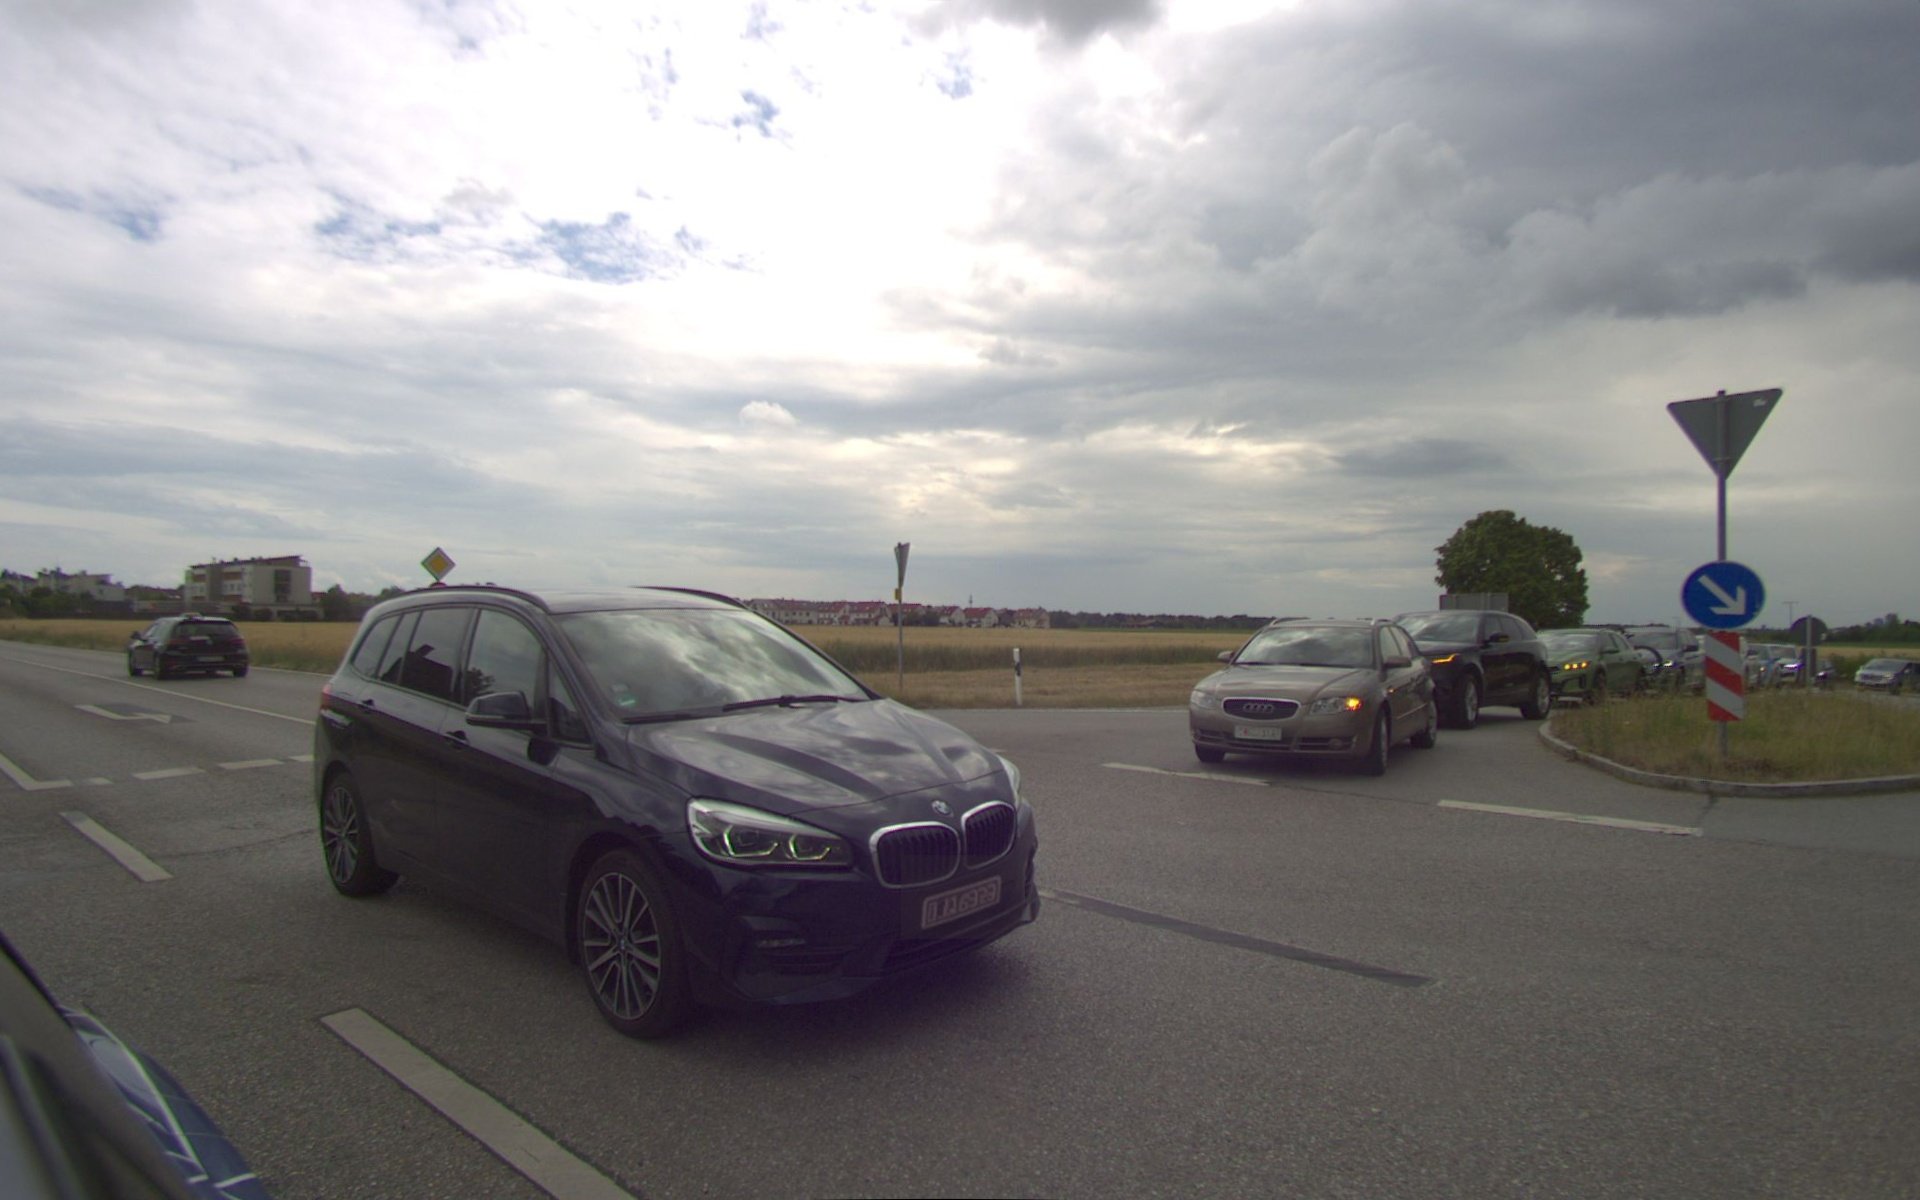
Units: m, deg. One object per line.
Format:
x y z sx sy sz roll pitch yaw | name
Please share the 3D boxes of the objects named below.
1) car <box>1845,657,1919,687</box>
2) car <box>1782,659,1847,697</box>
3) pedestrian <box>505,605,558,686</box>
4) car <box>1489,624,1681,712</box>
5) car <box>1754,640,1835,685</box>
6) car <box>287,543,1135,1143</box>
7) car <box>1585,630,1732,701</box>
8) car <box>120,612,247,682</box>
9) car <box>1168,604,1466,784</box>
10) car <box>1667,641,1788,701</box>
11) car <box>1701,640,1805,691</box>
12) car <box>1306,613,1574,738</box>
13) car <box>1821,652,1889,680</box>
51.144 3.920 55.716 4.427 1.493 1.917 1 -2 -24 | car
39.027 3.521 46.181 1.912 1.493 4.440 -1 -2 45 | car
-8.800 0.931 20.801 0.865 1.617 0.587 -1 -5 39 | pedestrian
12.612 1.274 20.267 5.221 1.533 1.913 2 -2 -42 | car
30.979 2.269 37.527 1.912 1.493 4.440 -1 -2 45 | car
-1.545 0.681 4.860 4.480 1.623 1.685 -1 0 41 | car
16.863 1.501 24.346 4.568 1.528 1.913 2 -2 -42 | car
-18.900 1.069 24.558 4.394 1.533 1.661 -1 0 42 | car
3.883 0.817 10.466 1.906 1.435 4.414 -1 -2 33 | car
21.501 1.909 28.279 4.436 1.493 1.913 2 -2 -42 | car
25.573 2.046 32.580 4.436 1.493 1.913 2 -2 -42 | car
7.129 0.995 14.805 4.682 1.543 1.913 2 -2 -42 | car
58.381 4.256 66.027 4.428 1.694 1.917 1 -2 -29 | car
